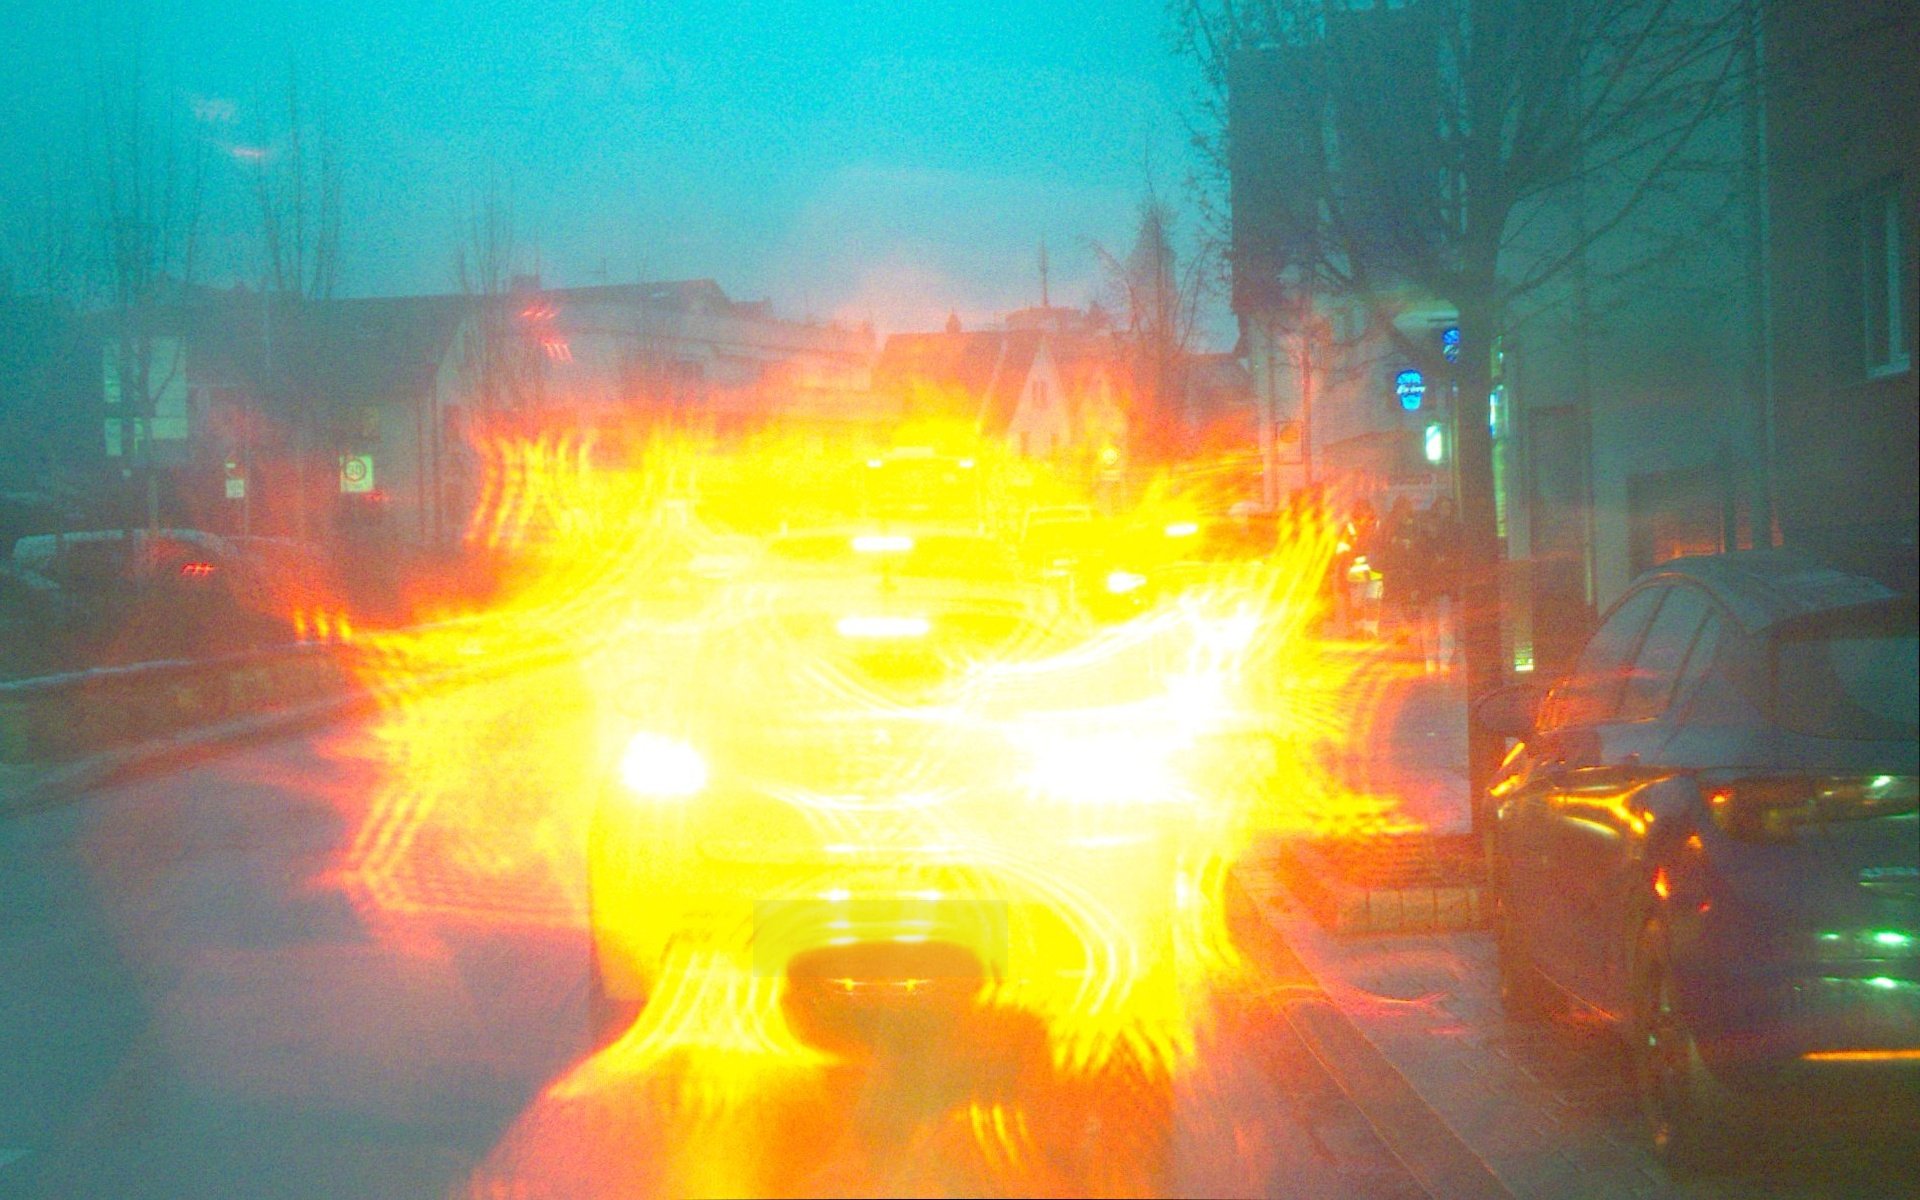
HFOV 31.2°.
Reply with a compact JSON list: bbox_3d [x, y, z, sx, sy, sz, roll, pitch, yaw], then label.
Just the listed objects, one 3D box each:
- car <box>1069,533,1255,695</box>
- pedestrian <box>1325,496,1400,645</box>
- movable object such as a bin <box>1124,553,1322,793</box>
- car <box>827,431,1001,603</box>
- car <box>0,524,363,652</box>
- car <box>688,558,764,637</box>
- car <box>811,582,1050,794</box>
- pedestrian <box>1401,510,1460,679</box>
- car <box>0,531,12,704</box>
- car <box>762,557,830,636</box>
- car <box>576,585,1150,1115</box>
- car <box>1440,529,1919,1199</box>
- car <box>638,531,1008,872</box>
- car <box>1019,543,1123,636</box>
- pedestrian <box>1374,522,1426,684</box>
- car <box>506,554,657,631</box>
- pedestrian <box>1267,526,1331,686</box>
[{"bbox_3d":[2.206,0.126,38.508,1.735,1.686,4.386,-1,1,-1],"label":"car"},{"bbox_3d":[4.721,-0.352,40.277,0.712,1.709,1.034,-1,1,13],"label":"pedestrian"},{"bbox_3d":[1.680,0.446,22.207,1.129,1.415,1.417,-4,1,2],"label":"movable object such as a bin"},{"bbox_3d":[-0.975,-1.551,67.563,3.190,3.021,6.305,1,-2,-2],"label":"car"},{"bbox_3d":[-10.472,-0.158,46.126,4.625,1.662,2.000,0,0,-2],"label":"car"},{"bbox_3d":[-6.325,-0.052,93.338,1.919,2.021,3.975,1,-2,-2],"label":"car"},{"bbox_3d":[-0.206,0.569,24.118,1.541,1.327,3.311,1,1,0],"label":"car"},{"bbox_3d":[4.684,-0.047,34.175,0.529,1.647,0.953,1,-2,10],"label":"pedestrian"},{"bbox_3d":[-10.375,0.152,29.789,3.794,1.518,1.714,0,0,7],"label":"car"},{"bbox_3d":[-4.800,-0.084,101.295,1.919,2.208,3.975,1,-2,-2],"label":"car"},{"bbox_3d":[-0.273,0.683,10.981,1.563,1.408,3.018,1,1,0],"label":"car"},{"bbox_3d":[2.428,0.578,9.301,1.728,1.459,4.199,-3,1,2],"label":"car"},{"bbox_3d":[-0.676,0.465,18.448,1.766,1.623,3.586,1,1,0],"label":"car"},{"bbox_3d":[2.241,-0.215,70.483,1.997,1.858,4.083,0,0,0],"label":"car"},{"bbox_3d":[4.937,0.025,38.576,0.529,1.794,0.864,1,1,10],"label":"pedestrian"},{"bbox_3d":[-11.045,-0.189,100.114,4.383,2.159,1.995,-1,-2,44],"label":"car"},{"bbox_3d":[3.663,0.063,37.175,0.573,1.694,0.653,-2,0,1],"label":"pedestrian"}]
